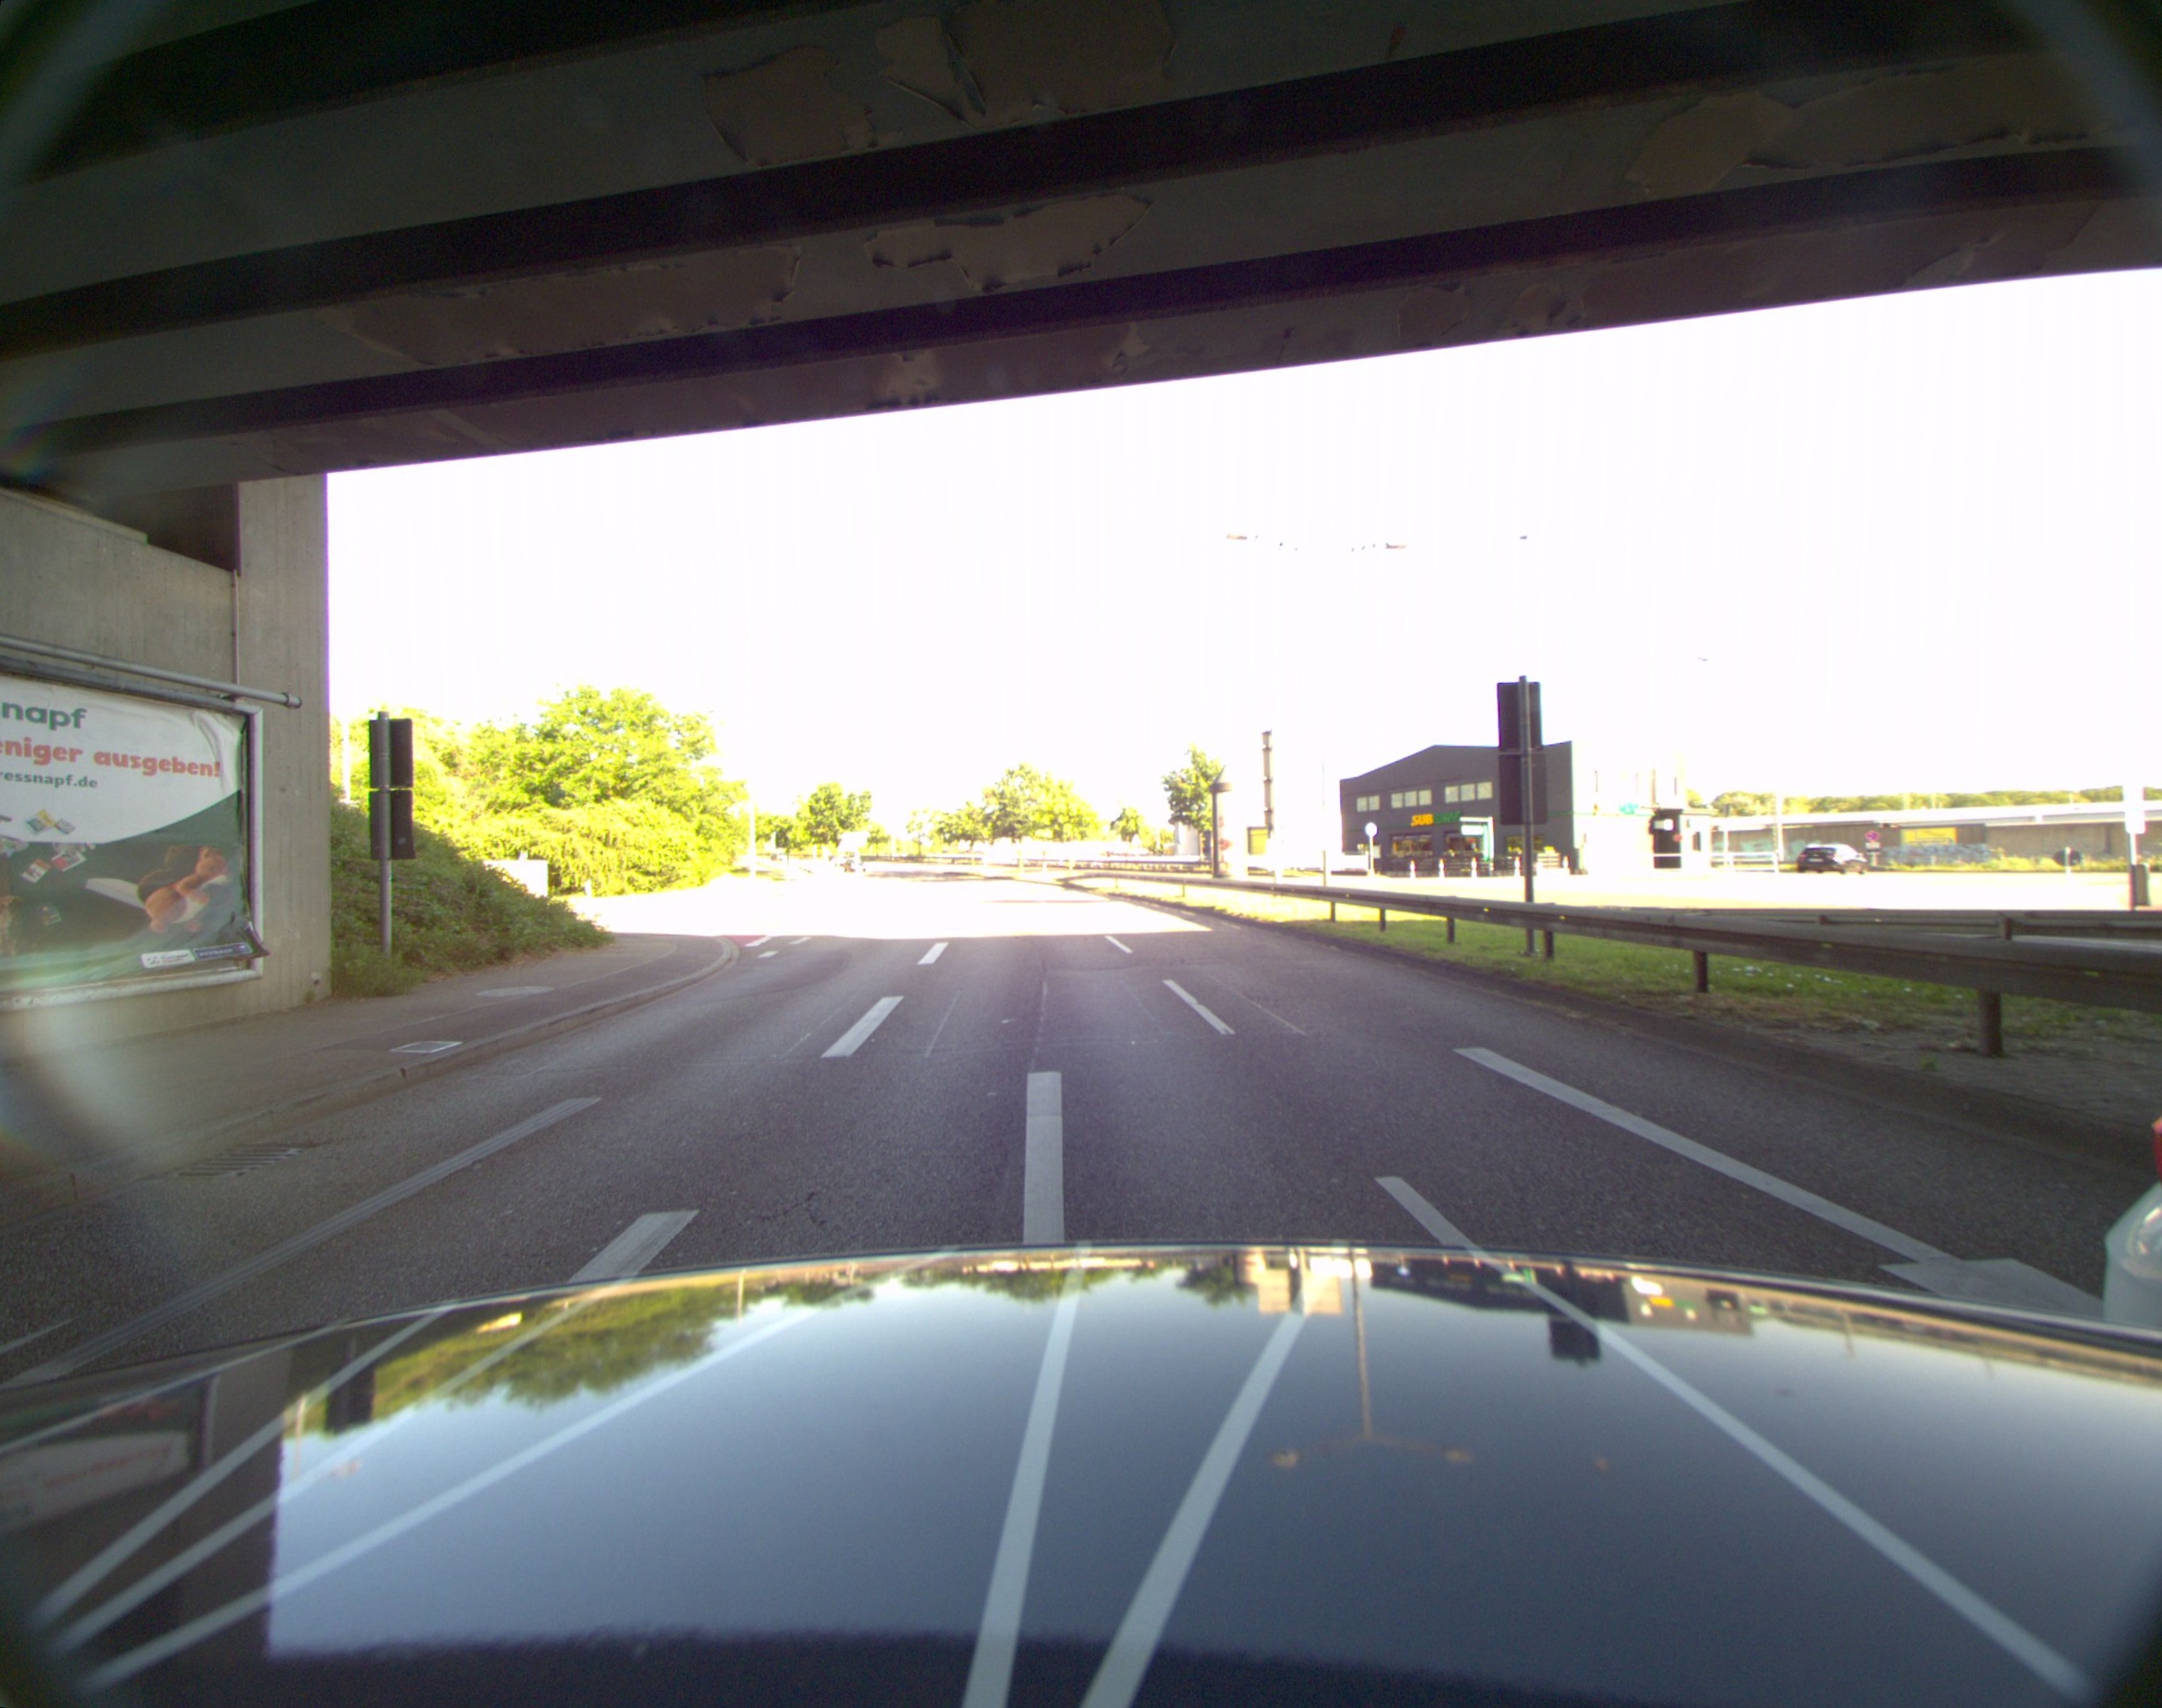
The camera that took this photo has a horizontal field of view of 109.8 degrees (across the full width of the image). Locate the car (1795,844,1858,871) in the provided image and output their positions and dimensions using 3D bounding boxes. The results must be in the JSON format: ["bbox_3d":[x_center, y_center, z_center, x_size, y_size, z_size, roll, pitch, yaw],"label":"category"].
[{"bbox_3d":[38.294,0.187,39.006,4.191,1.274,1.825,1,0,-39],"label":"car"}]

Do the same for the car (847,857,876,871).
[{"bbox_3d":[-24.142,1.066,83.388,1.742,1.411,4.309,-1,-2,-34],"label":"car"}]

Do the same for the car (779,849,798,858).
[{"bbox_3d":[-48.112,-0.082,124.998,1.860,1.471,4.219,-2,0,-34],"label":"car"}]

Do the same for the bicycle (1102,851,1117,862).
[{"bbox_3d":[2.805,0.243,74.944,0.594,1.017,1.746,-3,1,-28],"label":"bicycle"}]

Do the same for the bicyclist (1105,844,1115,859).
[{"bbox_3d":[2.848,-0.241,74.834,0.594,1.419,0.707,-3,1,-28],"label":"bicyclist"}]
